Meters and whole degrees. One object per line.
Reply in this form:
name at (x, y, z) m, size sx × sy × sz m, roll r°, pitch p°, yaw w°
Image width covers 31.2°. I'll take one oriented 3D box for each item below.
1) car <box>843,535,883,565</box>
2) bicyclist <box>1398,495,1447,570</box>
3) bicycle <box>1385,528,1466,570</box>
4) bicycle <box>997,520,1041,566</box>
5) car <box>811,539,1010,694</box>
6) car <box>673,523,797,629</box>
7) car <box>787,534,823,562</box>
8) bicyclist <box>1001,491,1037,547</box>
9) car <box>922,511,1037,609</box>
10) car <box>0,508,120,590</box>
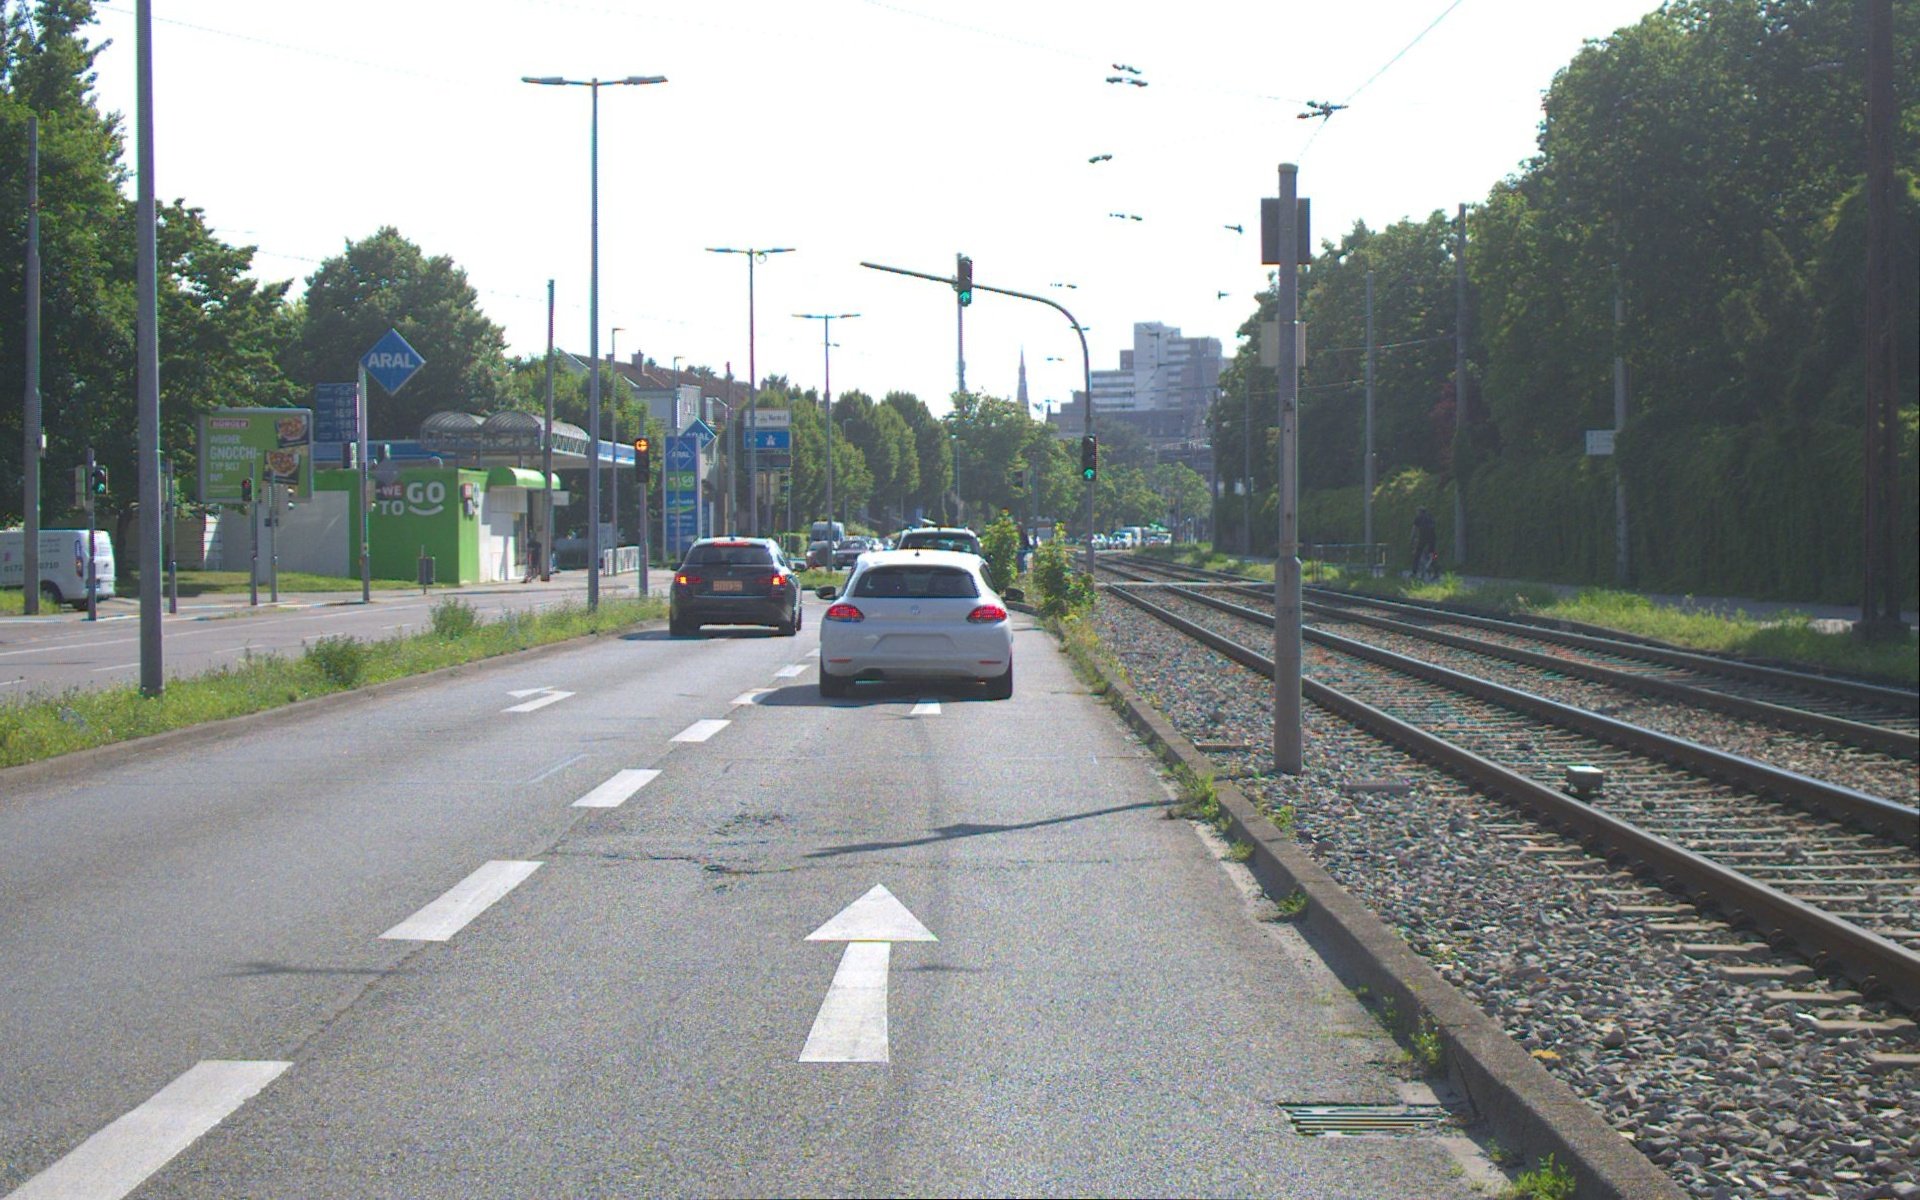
car at (-4.536, -2.347, 160.892) m, size 1.653 × 1.390 × 4.134 m, roll -1°, pitch 1°, yaw 1°
bicyclist at (12.330, -1.809, 91.618) m, size 1.034 × 1.986 × 0.946 m, roll 0°, pitch 1°, yaw 25°
bicycle at (12.401, -1.355, 91.590) m, size 1.923 × 1.111 × 0.946 m, roll 0°, pitch 1°, yaw 26°
bicycle at (1.521, -1.477, 88.748) m, size 0.644 × 1.150 × 1.935 m, roll 0°, pitch 1°, yaw 16°
car at (-0.447, 0.118, 33.023) m, size 1.781 × 1.351 × 3.601 m, roll 1°, pitch 1°, yaw 0°
car at (-3.386, -0.400, 52.267) m, size 1.760 × 1.480 × 4.646 m, roll 1°, pitch 1°, yaw -3°
car at (-7.967, -2.685, 176.866) m, size 1.574 × 1.412 × 3.333 m, roll -1°, pitch 1°, yaw 2°
bicyclist at (1.531, -2.080, 88.820) m, size 0.644 × 1.411 × 1.012 m, roll -1°, pitch 0°, yaw 16°
car at (0.305, -0.702, 58.503) m, size 1.724 × 1.587 × 3.602 m, roll 1°, pitch 1°, yaw -3°
car at (-22.990, -1.237, 84.088) m, size 4.391 × 1.956 × 1.822 m, roll 0°, pitch 1°, yaw 17°
